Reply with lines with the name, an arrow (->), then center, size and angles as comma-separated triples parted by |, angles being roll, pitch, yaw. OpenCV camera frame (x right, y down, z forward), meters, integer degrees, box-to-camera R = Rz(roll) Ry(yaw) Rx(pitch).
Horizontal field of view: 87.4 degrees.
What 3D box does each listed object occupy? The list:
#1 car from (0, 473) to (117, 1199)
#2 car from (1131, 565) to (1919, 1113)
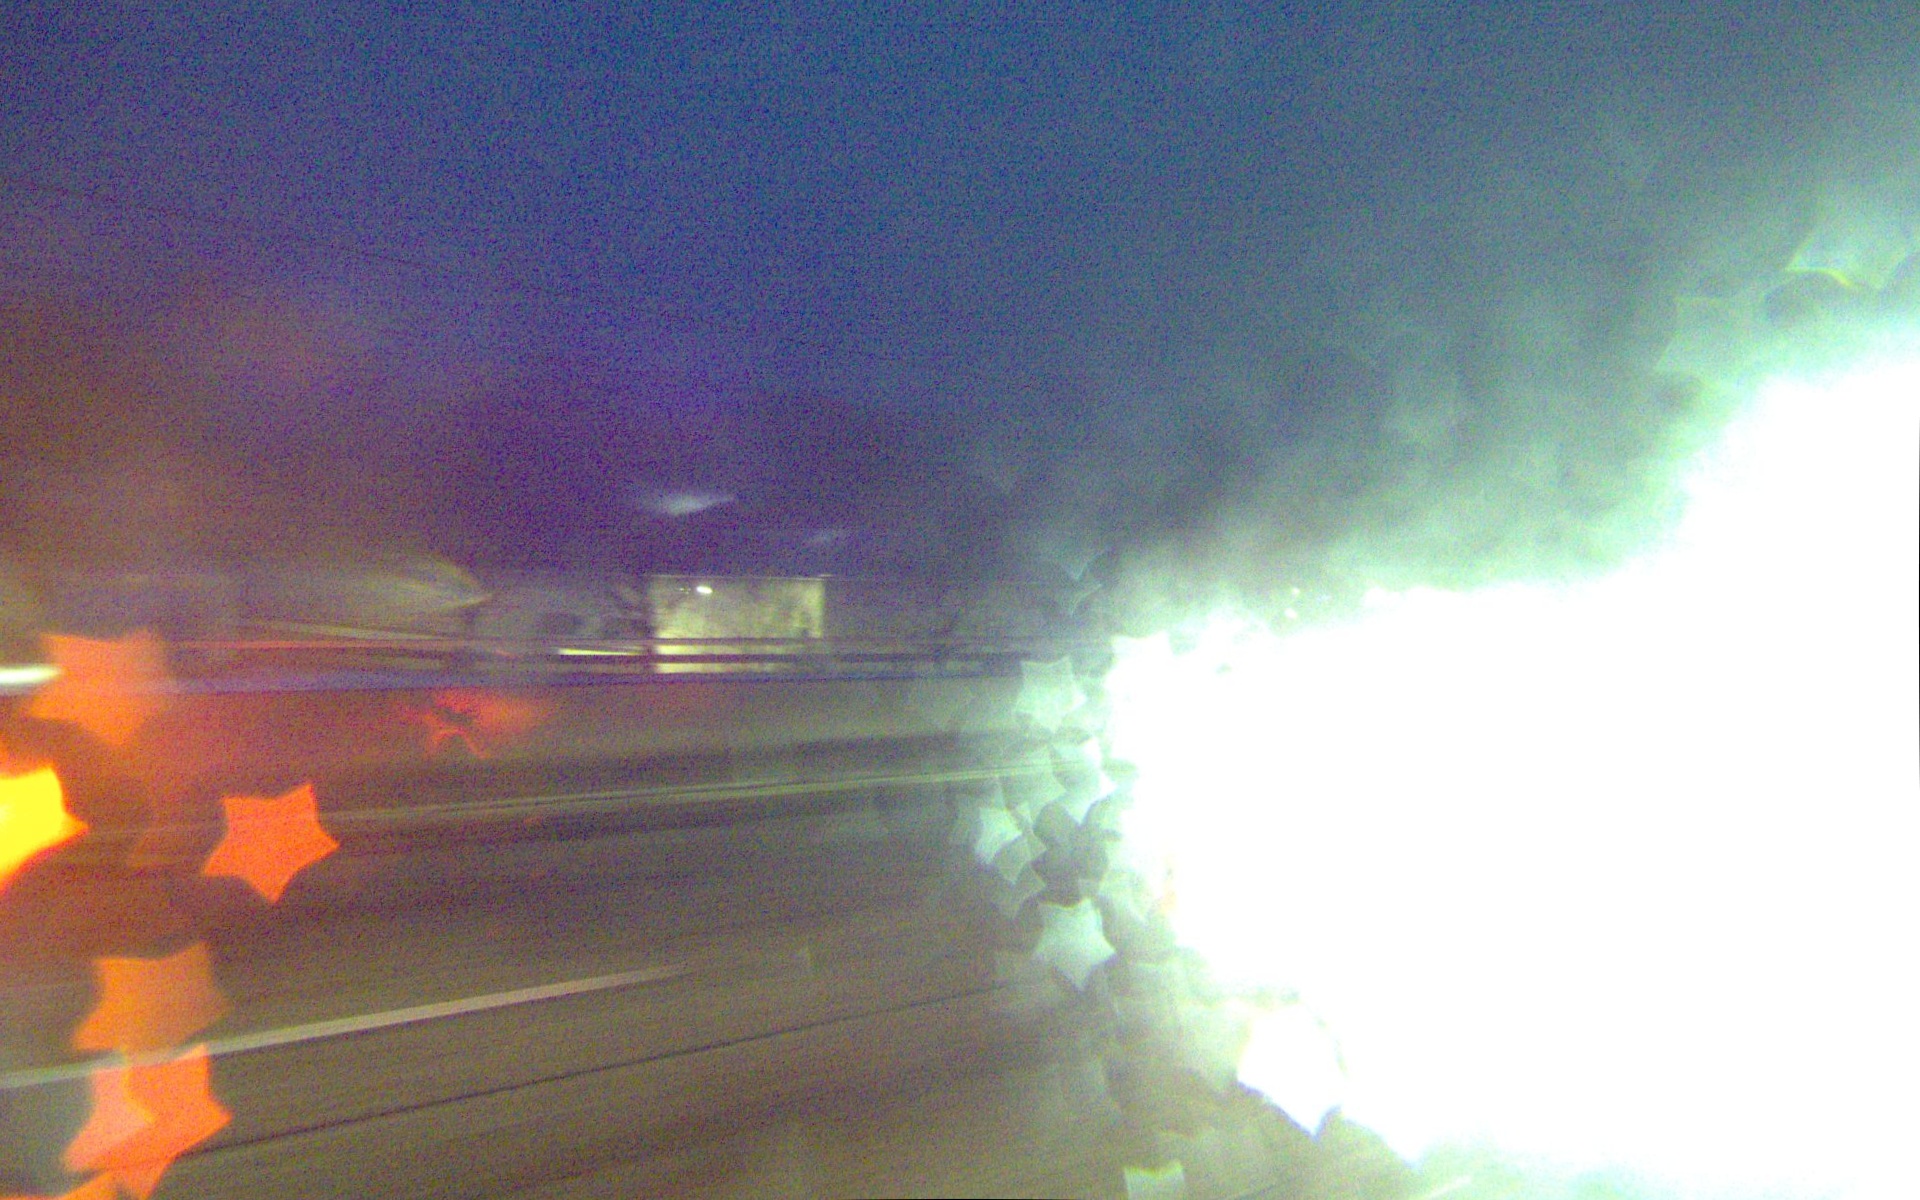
car -> -3.815, 0.559, 0.895 | 4.393, 1.691, 1.835 | 1, 0, -30
car -> 3.193, 0.730, 4.852 | 4.541, 1.596, 1.836 | 1, 0, -29
